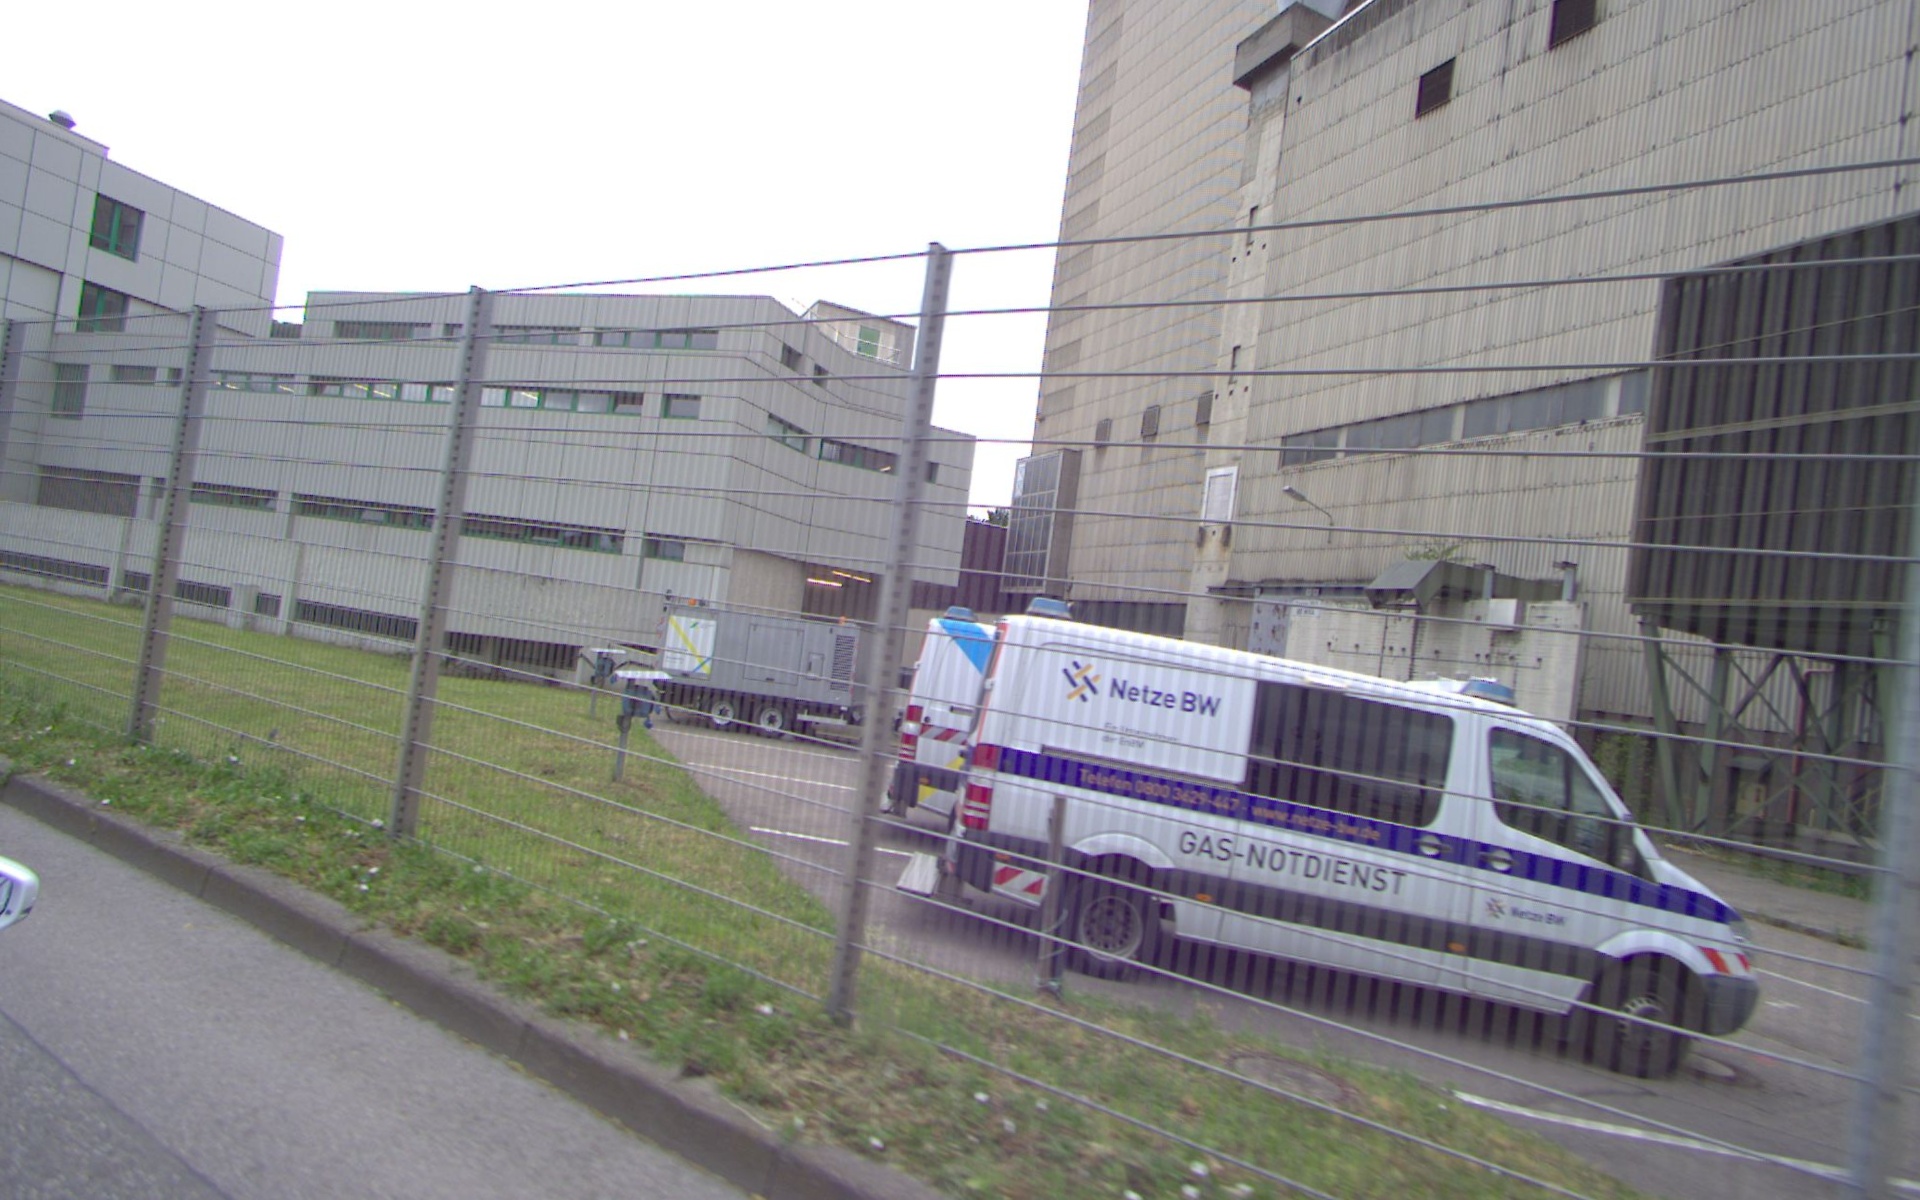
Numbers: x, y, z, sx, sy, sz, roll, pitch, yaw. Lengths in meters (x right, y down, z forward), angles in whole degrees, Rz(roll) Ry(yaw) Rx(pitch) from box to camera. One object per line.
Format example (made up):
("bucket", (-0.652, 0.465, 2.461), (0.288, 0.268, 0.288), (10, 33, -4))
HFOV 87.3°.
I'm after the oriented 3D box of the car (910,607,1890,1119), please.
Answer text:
("car", (2.868, 1.738, 7.561), (6.057, 2.287, 2.002), (10, -2, 2))
